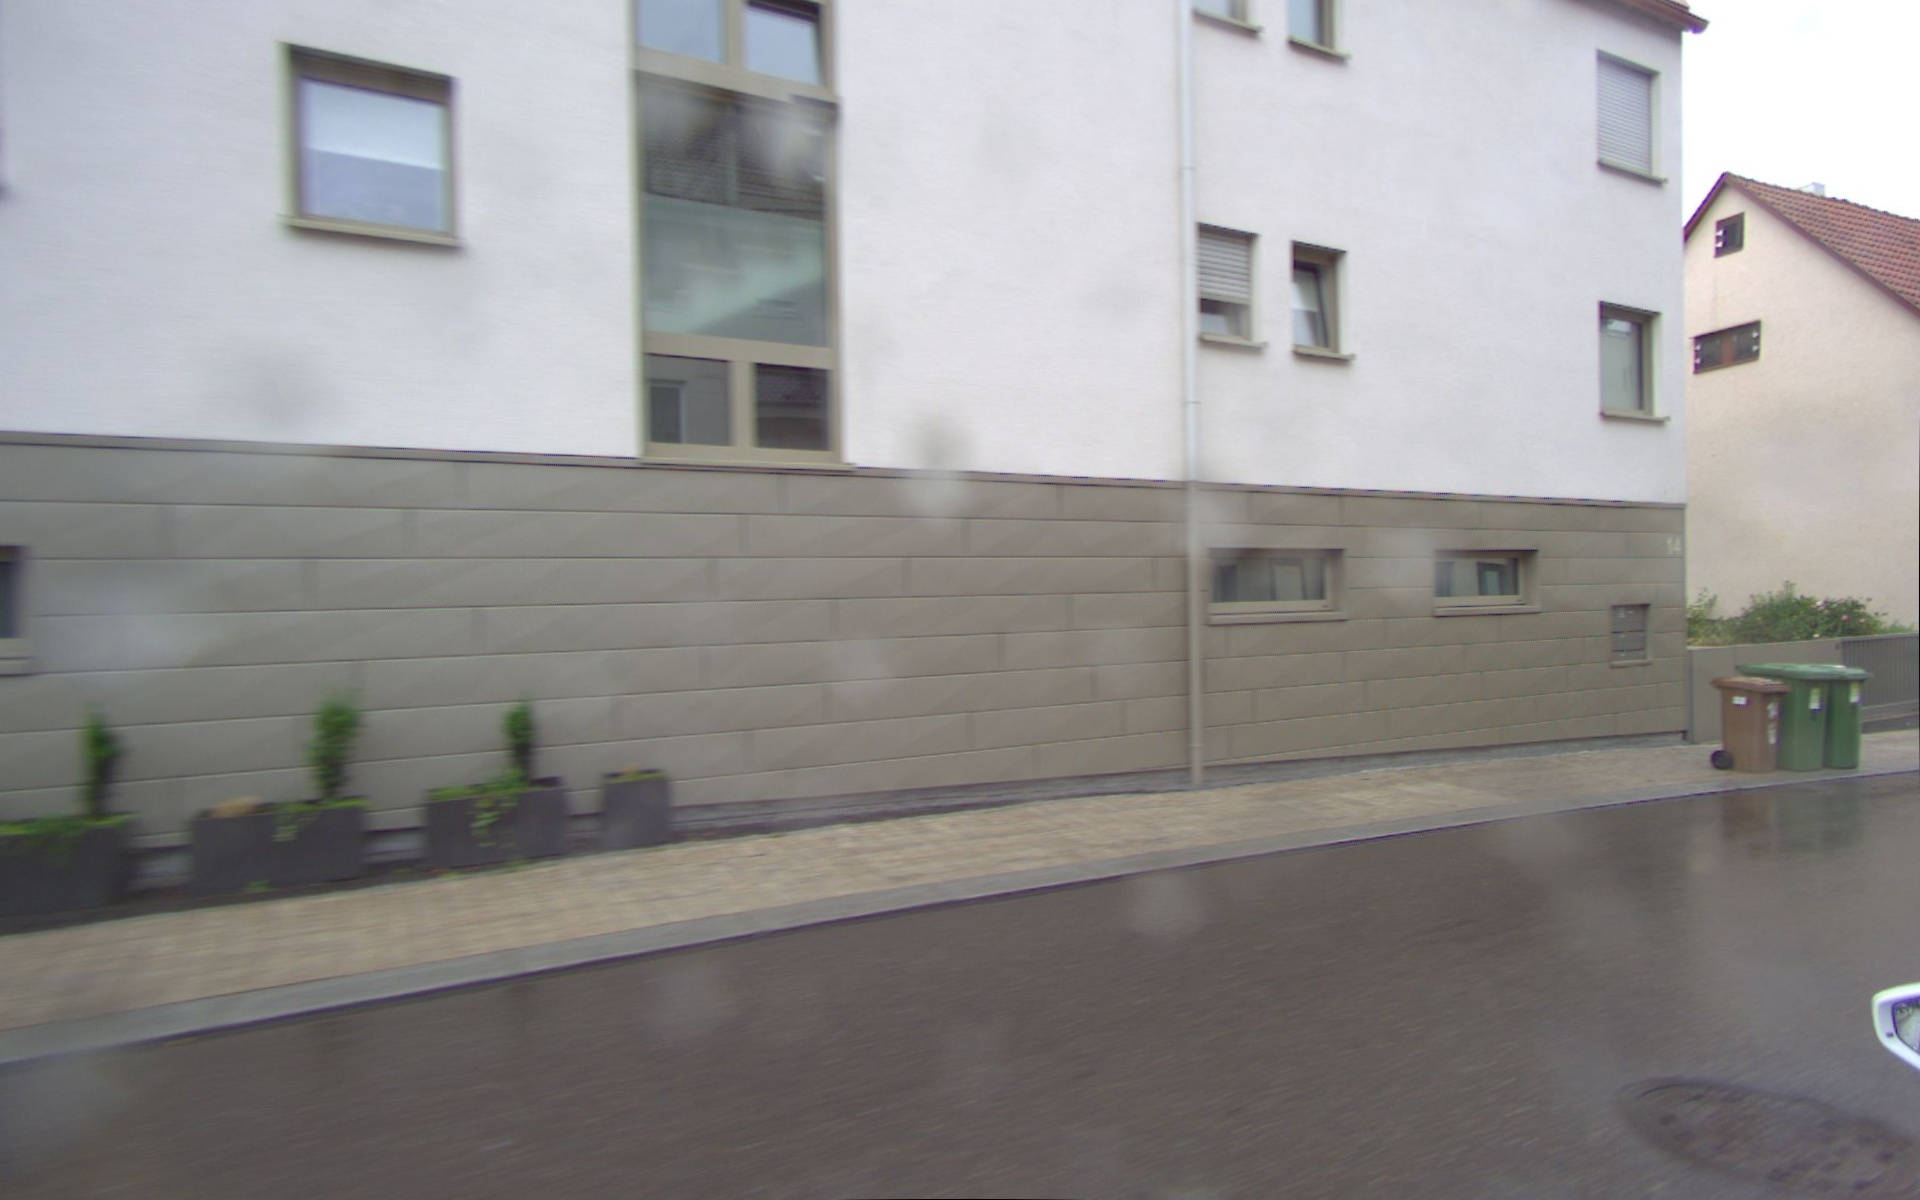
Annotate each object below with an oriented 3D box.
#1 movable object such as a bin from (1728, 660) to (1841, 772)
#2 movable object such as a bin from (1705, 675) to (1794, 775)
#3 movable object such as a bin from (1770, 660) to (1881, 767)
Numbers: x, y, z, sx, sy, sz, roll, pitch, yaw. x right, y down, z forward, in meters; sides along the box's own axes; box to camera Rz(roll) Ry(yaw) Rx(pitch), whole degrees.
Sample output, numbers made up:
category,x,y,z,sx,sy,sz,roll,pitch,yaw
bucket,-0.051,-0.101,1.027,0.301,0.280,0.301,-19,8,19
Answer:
category,x,y,z,sx,sy,sz,roll,pitch,yaw
movable object such as a bin,8.688,1.201,10.597,0.685,1.081,0.679,1,1,-24
movable object such as a bin,8.071,1.260,10.271,0.571,0.935,0.504,1,1,-27
movable object such as a bin,9.329,1.202,10.841,0.652,1.059,0.679,1,1,-24
